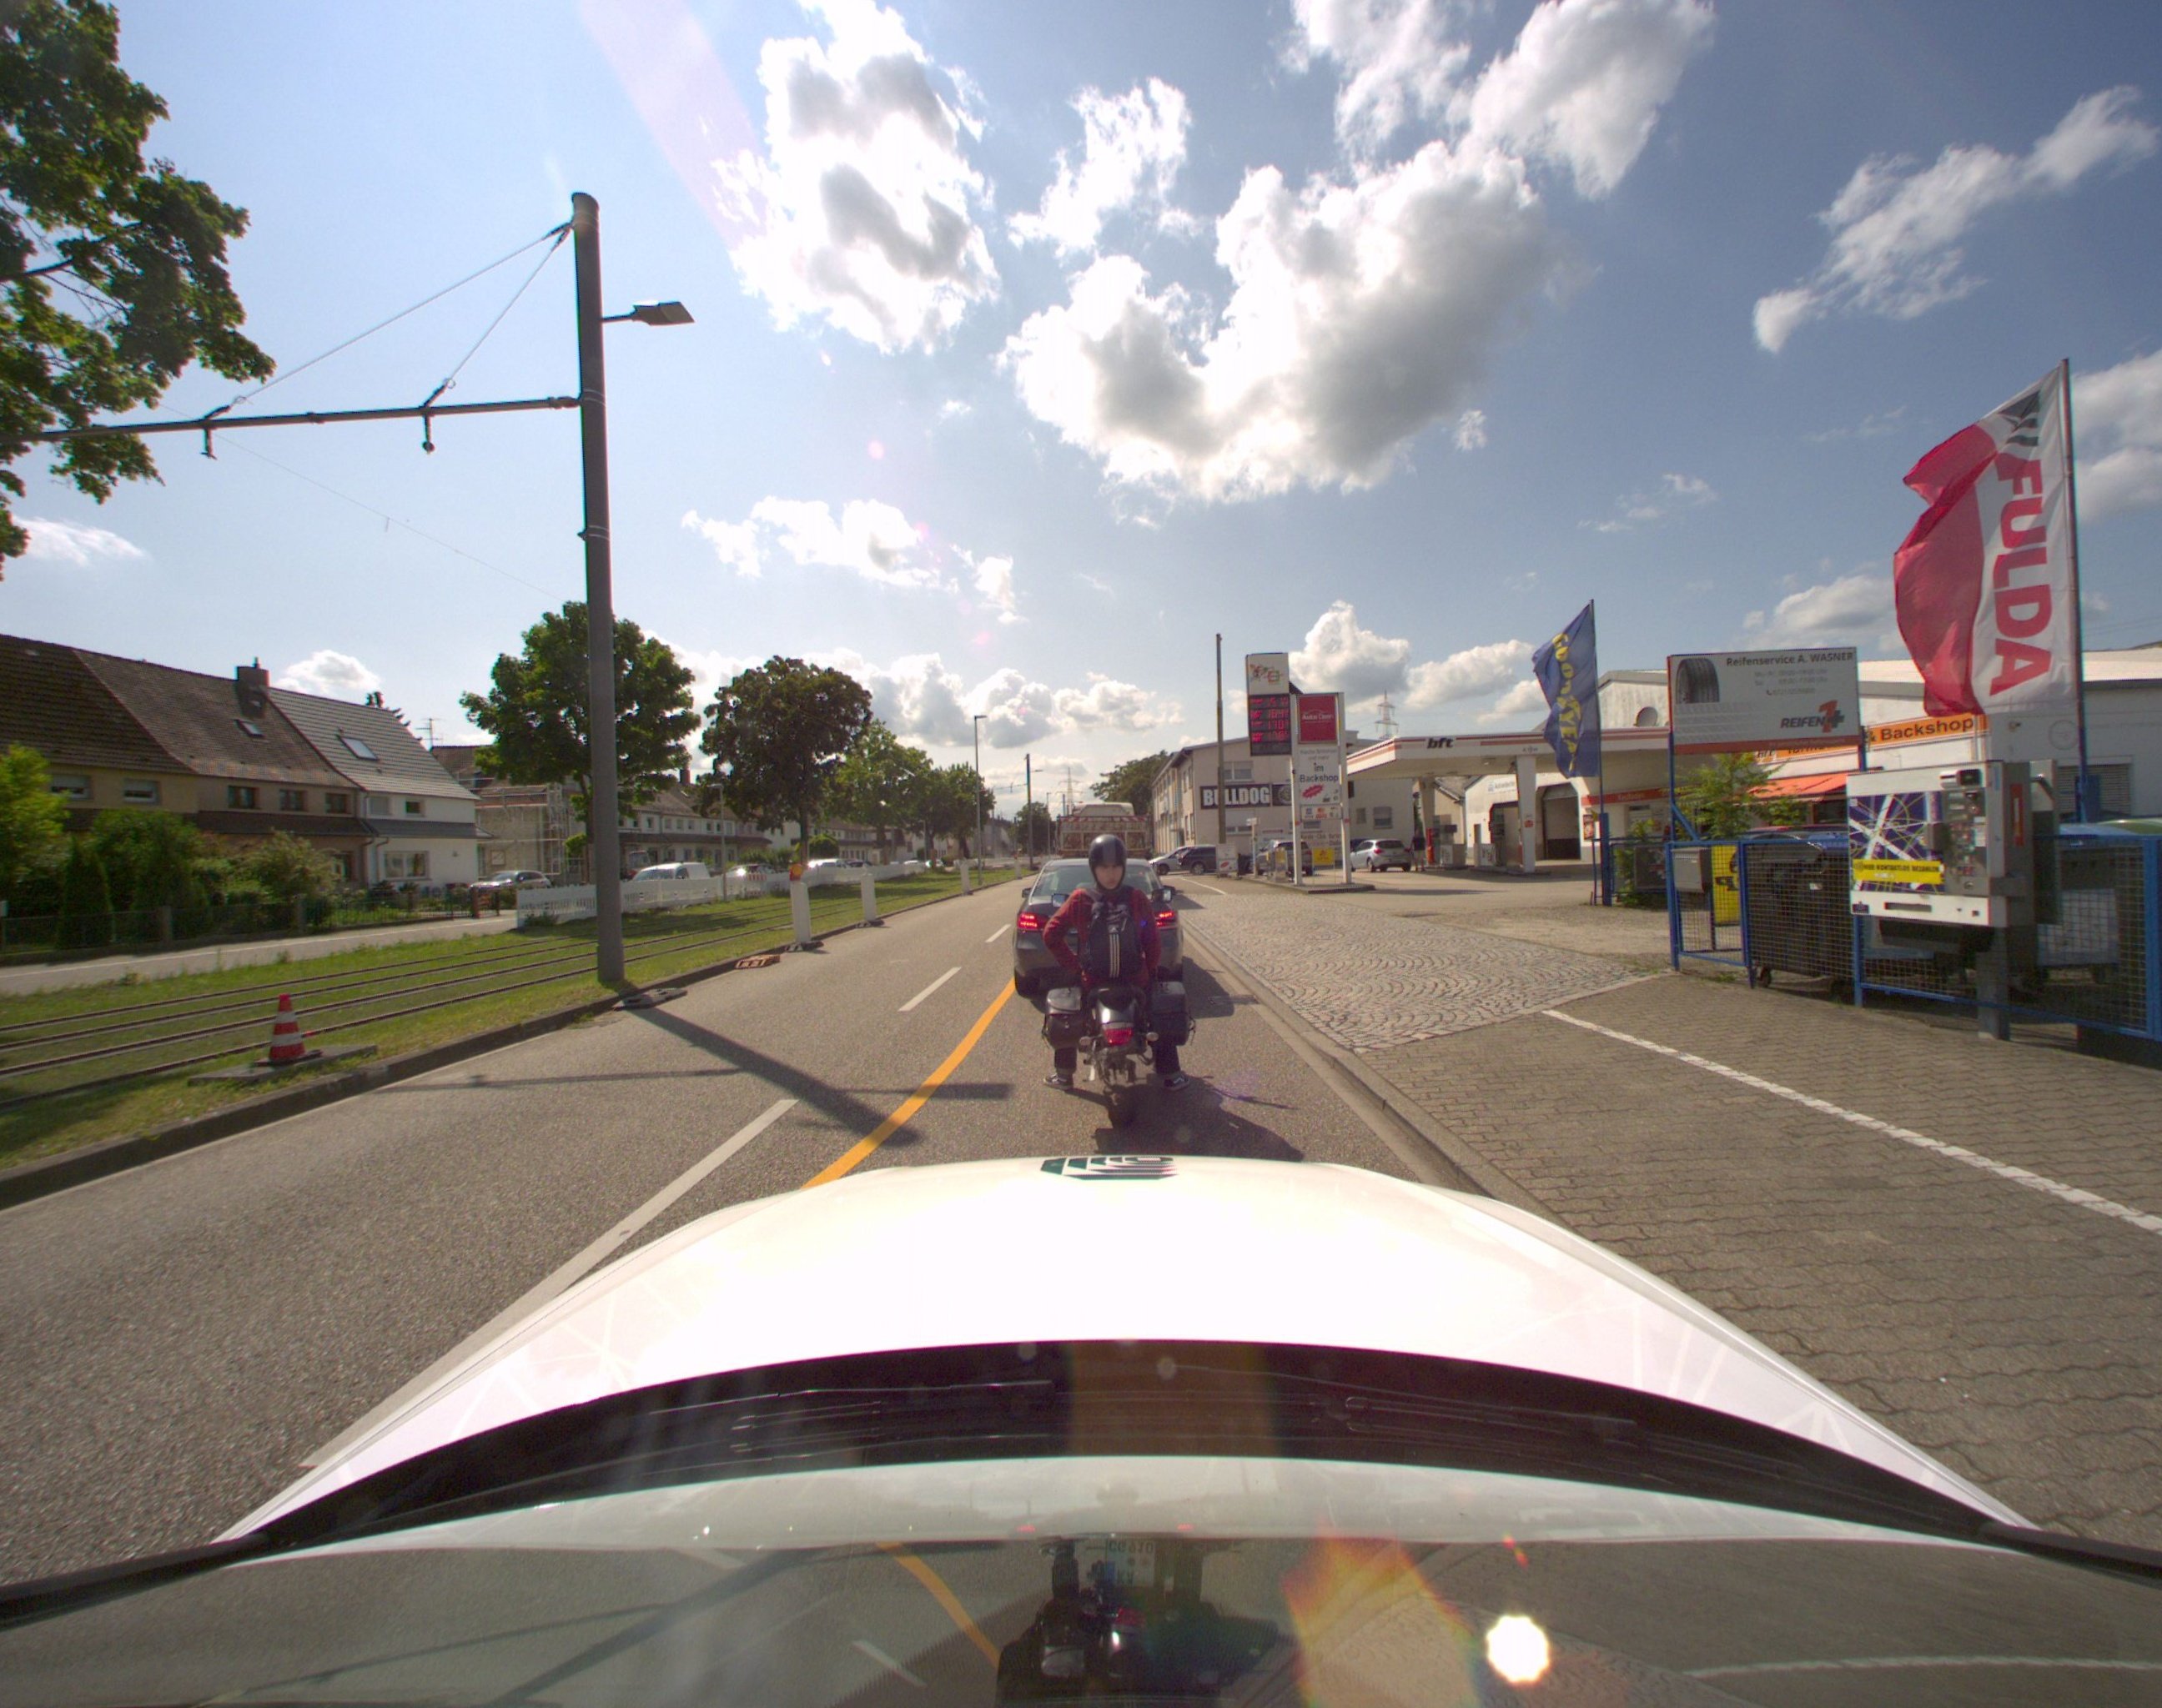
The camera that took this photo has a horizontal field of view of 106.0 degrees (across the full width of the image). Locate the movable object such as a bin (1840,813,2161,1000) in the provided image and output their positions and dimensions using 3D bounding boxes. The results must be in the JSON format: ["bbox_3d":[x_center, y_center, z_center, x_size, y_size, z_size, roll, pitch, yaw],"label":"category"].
[{"bbox_3d":[8.104,0.416,7.288,1.222,1.454,1.455,-2,0,0],"label":"movable object such as a bin"}]

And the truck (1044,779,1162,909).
[{"bbox_3d":[0.643,-0.281,25.612,2.960,3.304,8.407,-2,0,1],"label":"truck"}]

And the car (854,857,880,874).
[{"bbox_3d":[-24.460,1.306,93.148,1.692,1.739,4.064,-2,0,2],"label":"car"}]

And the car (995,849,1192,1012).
[{"bbox_3d":[0.150,0.721,9.805,1.826,1.479,4.009,-3,0,1],"label":"car"}]

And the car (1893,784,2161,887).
[{"bbox_3d":[21.250,-0.400,18.276,3.972,2.013,2.001,-2,0,1],"label":"car"}]

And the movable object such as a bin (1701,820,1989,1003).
[{"bbox_3d":[6.825,0.470,7.412,1.222,1.454,1.455,-2,0,0],"label":"movable object such as a bin"}]

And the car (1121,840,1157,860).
[{"bbox_3d":[7.681,-0.503,108.104,2.217,2.564,5.325,-2,0,-26],"label":"car"}]

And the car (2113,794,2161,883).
[{"bbox_3d":[26.353,-0.433,18.192,3.972,2.013,2.001,-2,0,1],"label":"car"}]

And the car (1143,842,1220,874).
[{"bbox_3d":[5.768,0.230,47.057,4.100,1.624,1.682,-3,0,-7],"label":"car"}]

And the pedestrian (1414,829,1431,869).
[{"bbox_3d":[14.843,-0.208,35.396,0.628,1.683,0.626,-2,0,23],"label":"pedestrian"}]

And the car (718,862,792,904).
[{"bbox_3d":[-15.324,1.326,38.496,1.692,1.739,4.056,-2,0,2],"label":"car"}]

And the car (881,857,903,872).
[{"bbox_3d":[-24.373,1.348,105.375,1.692,1.739,4.064,-2,0,2],"label":"car"}]

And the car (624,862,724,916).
[{"bbox_3d":[-15.417,1.279,31.065,1.692,1.817,3.862,-2,0,2],"label":"car"}]

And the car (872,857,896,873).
[{"bbox_3d":[-24.044,1.340,99.351,1.692,1.739,4.064,-2,0,2],"label":"car"}]

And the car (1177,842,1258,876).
[{"bbox_3d":[7.294,0.243,43.771,4.090,1.624,1.686,-2,0,1],"label":"car"}]

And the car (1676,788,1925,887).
[{"bbox_3d":[16.602,-0.370,18.969,3.972,2.013,2.001,-2,0,1],"label":"car"}]

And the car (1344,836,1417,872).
[{"bbox_3d":[13.540,-0.021,37.076,1.826,1.479,4.009,-3,0,1],"label":"car"}]

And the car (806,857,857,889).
[{"bbox_3d":[-15.079,1.113,49.400,1.692,1.739,3.862,-2,0,2],"label":"car"}]

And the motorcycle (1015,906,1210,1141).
[{"bbox_3d":[0.195,0.932,5.321,0.972,1.013,2.433,-1,0,2],"label":"motorcycle"}]

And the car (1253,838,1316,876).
[{"bbox_3d":[9.070,0.124,36.584,1.826,1.536,4.009,-3,0,1],"label":"car"}]

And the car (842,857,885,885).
[{"bbox_3d":[-14.865,1.142,55.767,1.692,1.739,3.862,-2,0,2],"label":"car"}]

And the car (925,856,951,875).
[{"bbox_3d":[-14.105,1.152,80.332,1.692,1.739,3.862,-2,0,2],"label":"car"}]

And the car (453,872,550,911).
[{"bbox_3d":[-27.477,1.732,38.803,1.692,1.593,3.862,-2,0,2],"label":"car"}]

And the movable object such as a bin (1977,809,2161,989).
[{"bbox_3d":[9.449,0.335,7.198,1.425,1.454,1.455,-2,0,0],"label":"movable object such as a bin"}]

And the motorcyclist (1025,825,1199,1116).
[{"bbox_3d":[0.194,0.654,5.204,0.966,1.633,1.215,-1,0,1],"label":"motorcyclist"}]
